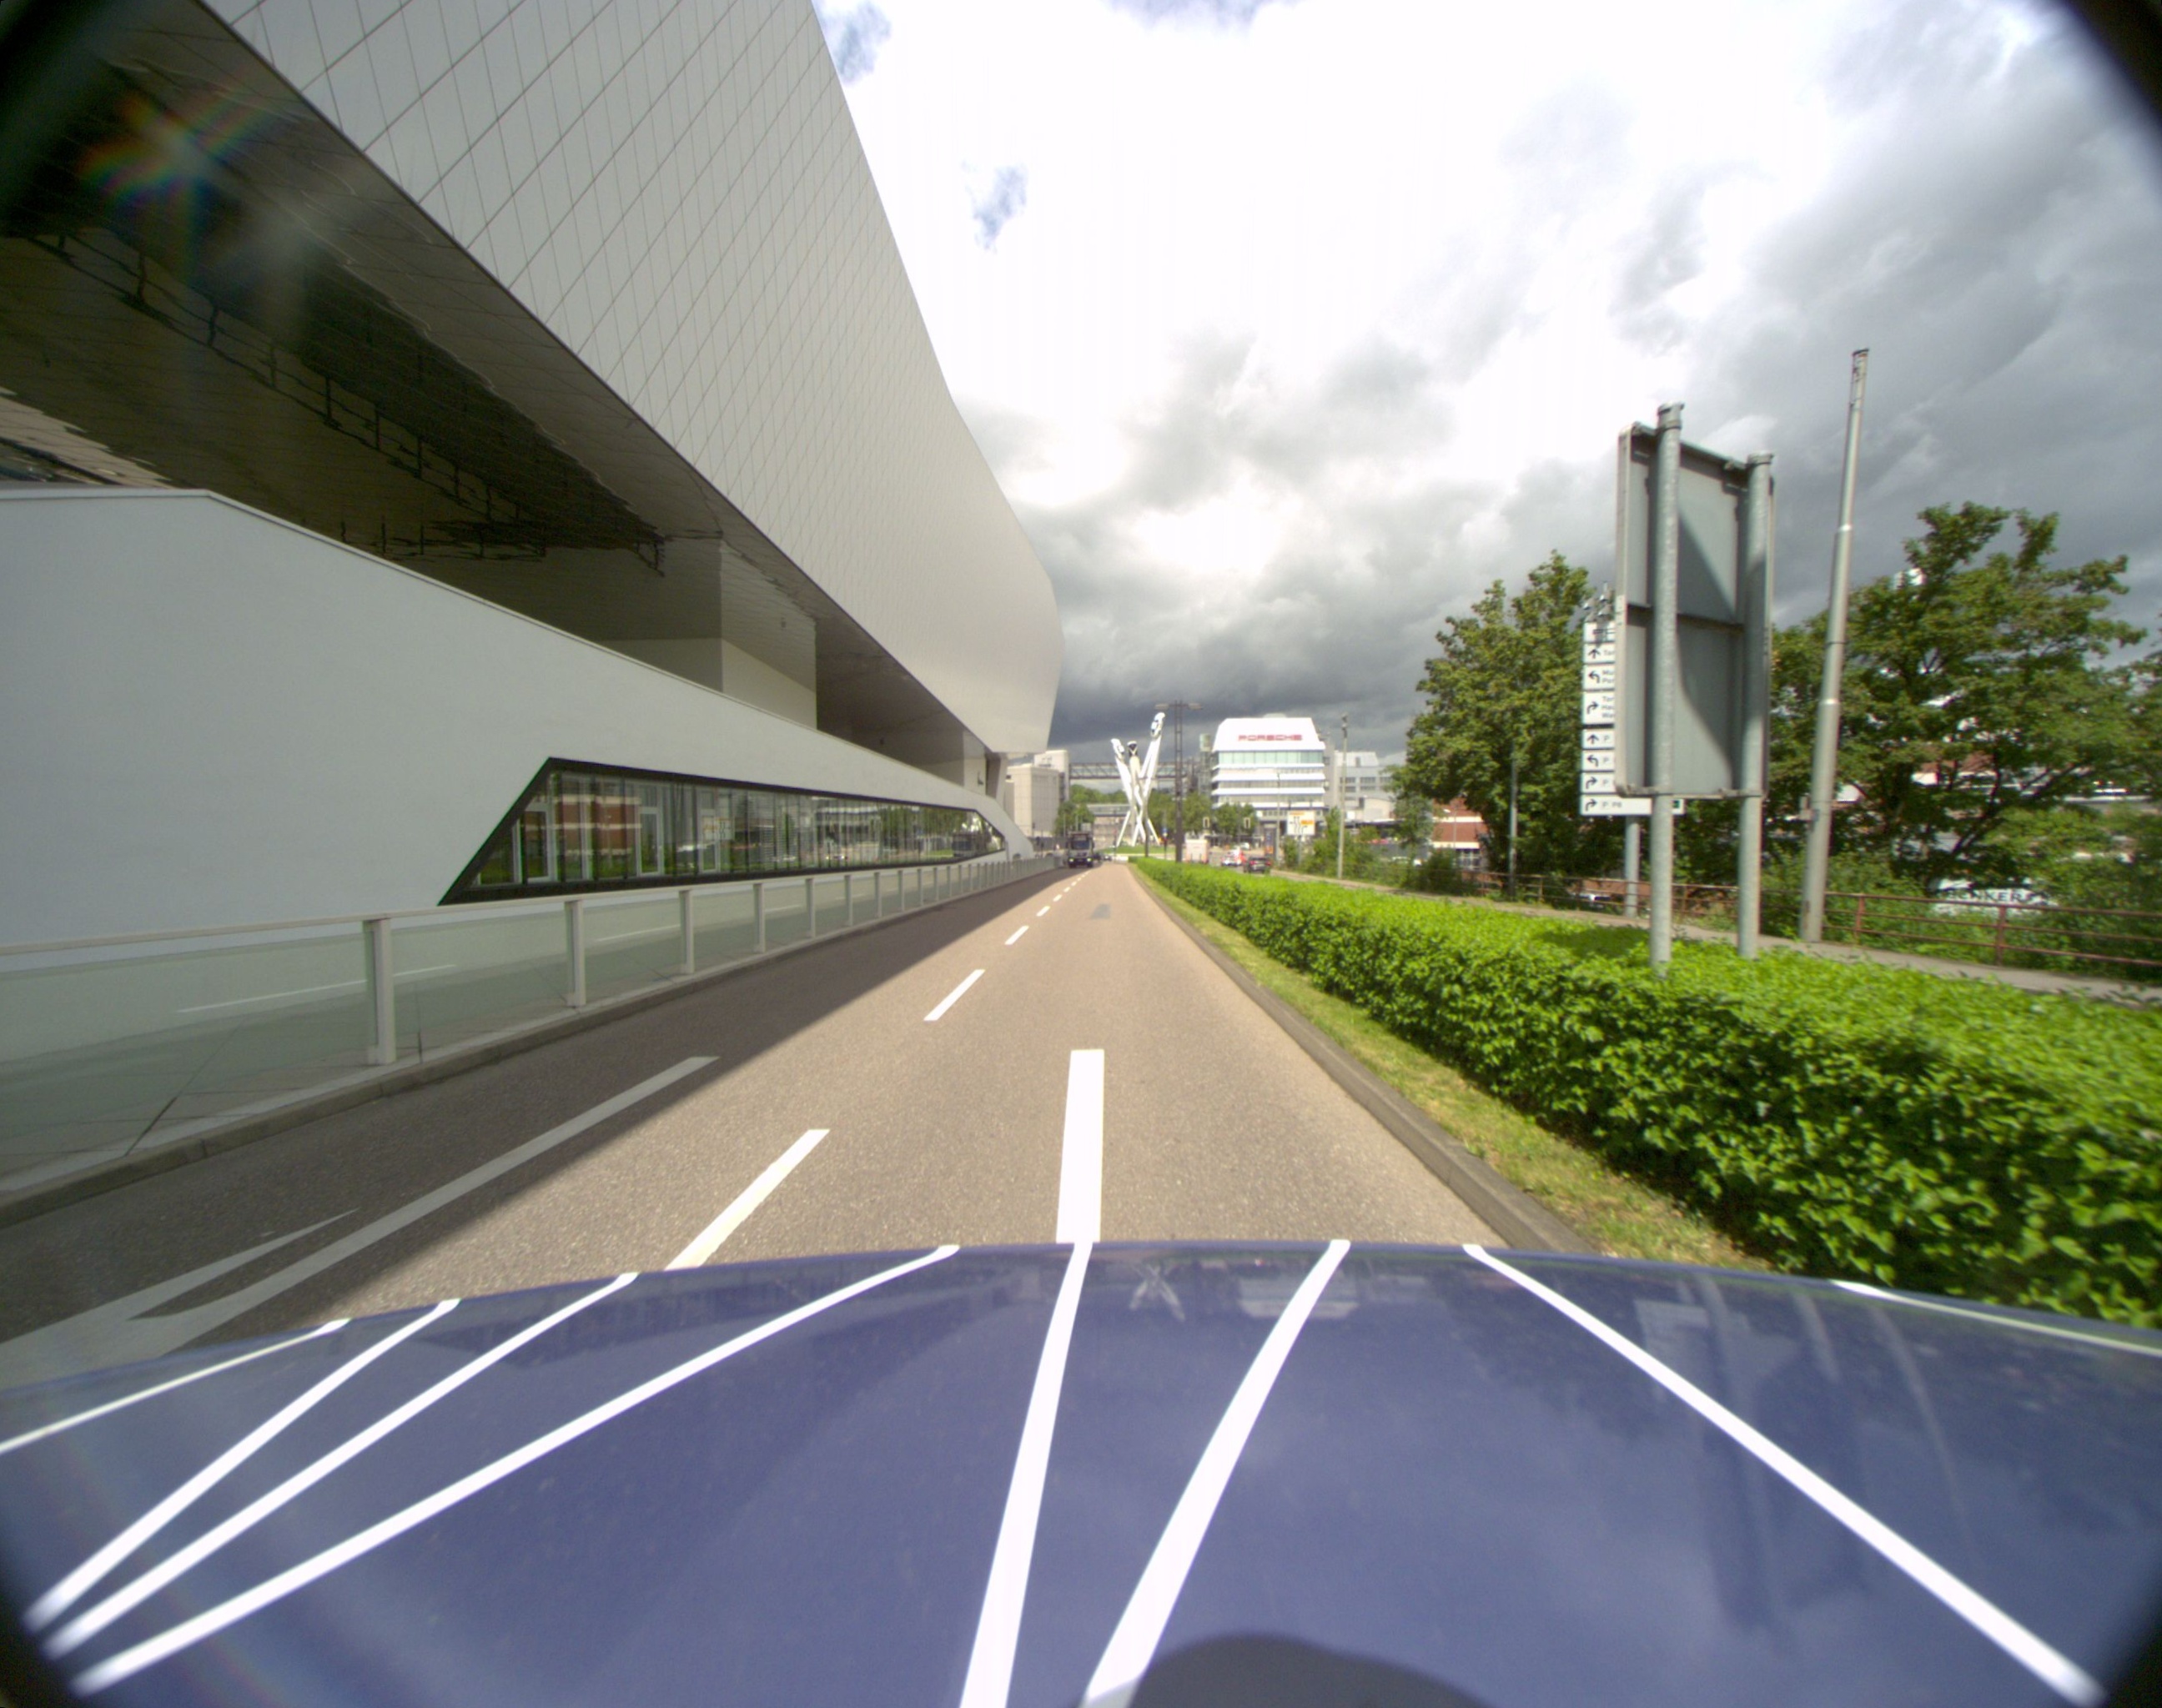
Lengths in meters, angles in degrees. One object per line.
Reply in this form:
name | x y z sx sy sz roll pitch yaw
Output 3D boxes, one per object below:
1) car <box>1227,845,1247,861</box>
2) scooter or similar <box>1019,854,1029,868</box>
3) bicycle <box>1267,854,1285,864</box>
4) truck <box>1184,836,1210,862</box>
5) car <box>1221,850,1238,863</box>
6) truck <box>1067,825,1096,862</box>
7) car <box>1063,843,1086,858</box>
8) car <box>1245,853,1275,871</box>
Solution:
car | 19.588 -0.117 95.034 1.996 1.947 4.633 0 1 17
scooter or similar | -5.278 0.646 70.368 0.708 1.236 1.952 -1 1 2
bicycle | 23.620 0.608 92.001 2.041 1.161 0.621 0 1 12
truck | 14.029 -0.556 92.364 2.861 2.840 9.383 -1 -1 7
car | 17.324 0.319 88.266 1.799 1.414 4.496 1 1 12
truck | 0.045 -1.102 81.694 2.843 3.669 10.751 -1 1 0
car | -0.894 -0.439 100.838 2.165 1.899 5.299 -1 1 -11
car | 15.008 0.647 63.960 1.843 1.499 4.563 0 0 6
